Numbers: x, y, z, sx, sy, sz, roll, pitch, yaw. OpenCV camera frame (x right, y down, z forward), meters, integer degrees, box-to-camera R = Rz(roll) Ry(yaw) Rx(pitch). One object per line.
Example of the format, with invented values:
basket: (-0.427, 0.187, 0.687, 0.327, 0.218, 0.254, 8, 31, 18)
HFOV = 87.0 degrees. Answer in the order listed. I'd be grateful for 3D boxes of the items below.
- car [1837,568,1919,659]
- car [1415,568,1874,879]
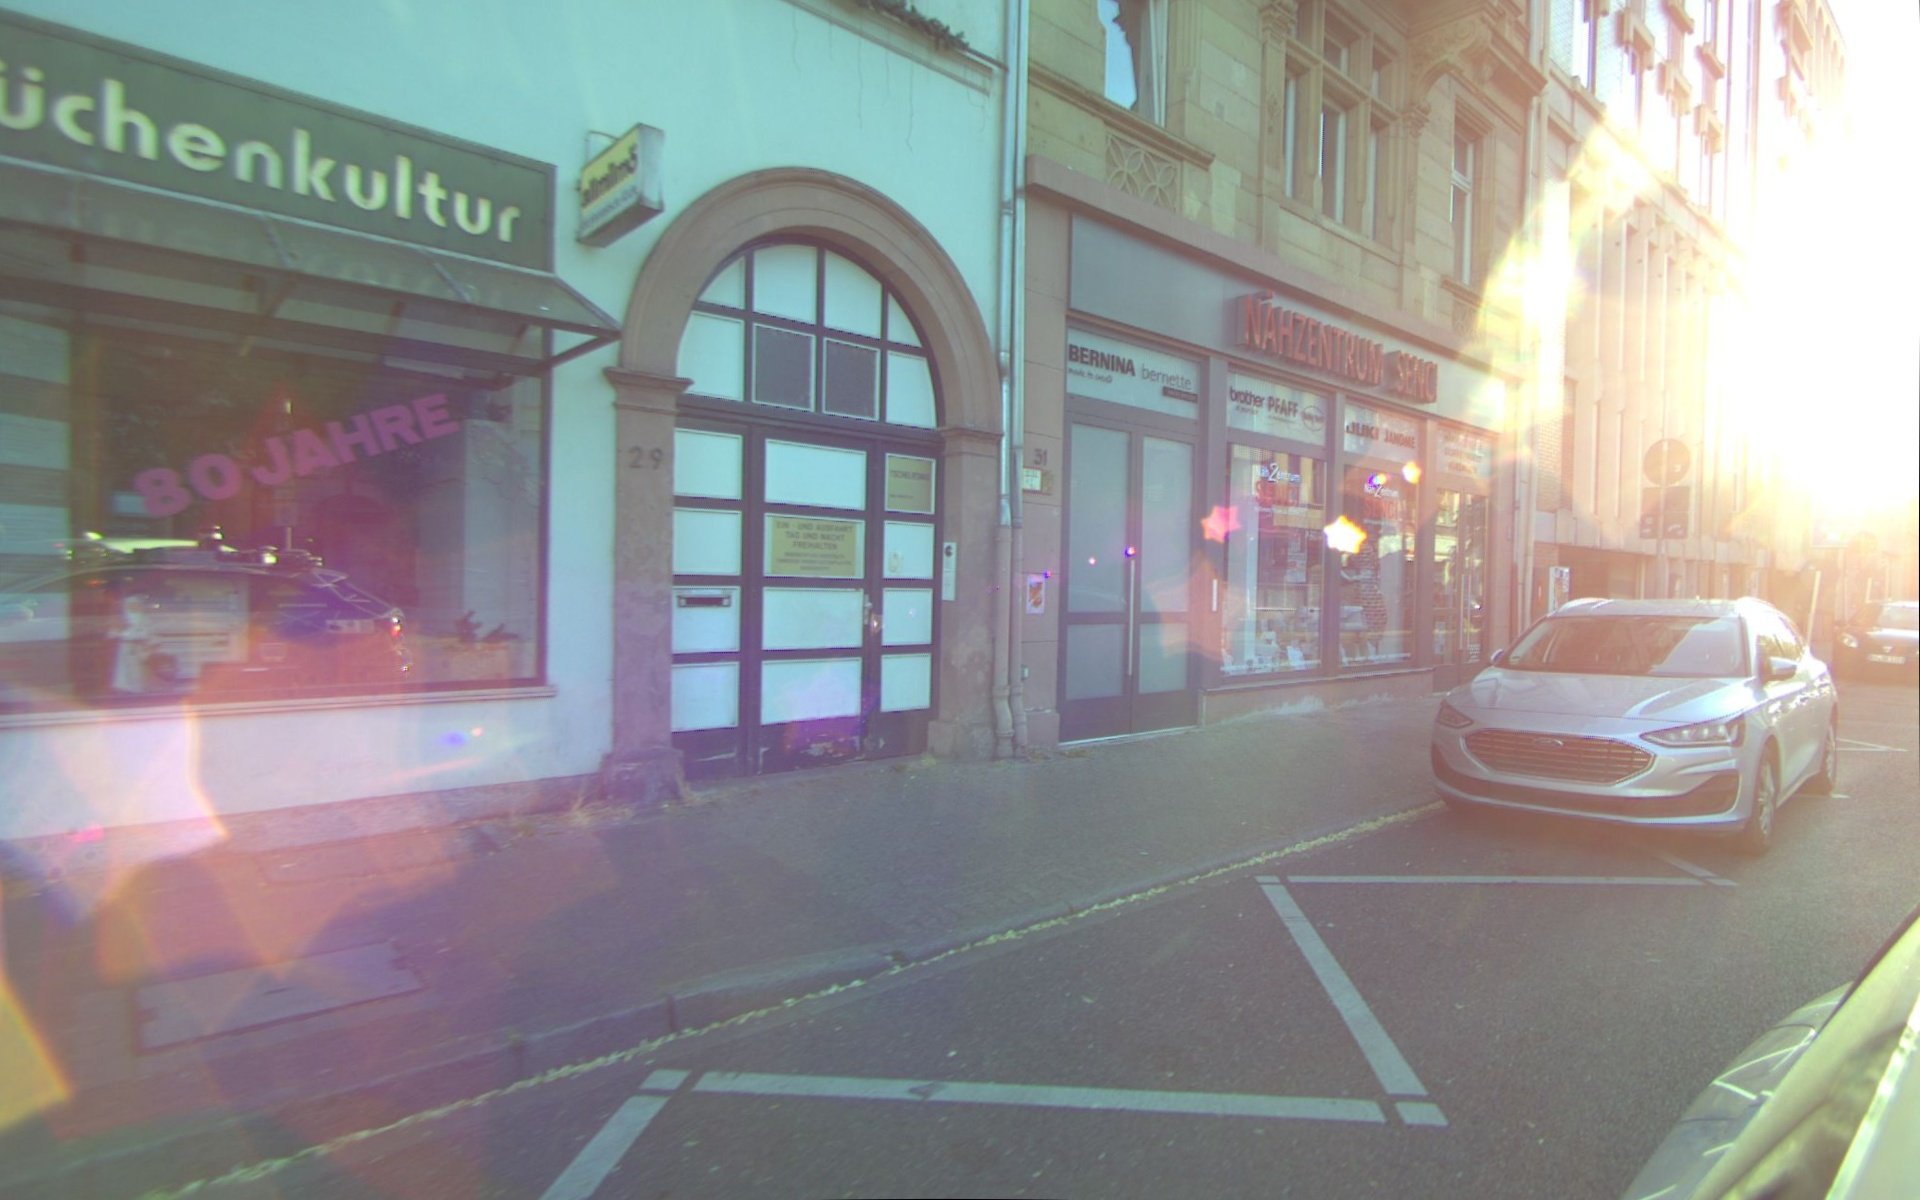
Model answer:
car: (18.570, 0.258, 19.556, 3.929, 1.555, 1.764, 0, 4, -40)
car: (5.187, 0.593, 7.347, 4.741, 1.556, 1.760, -1, 0, -43)
